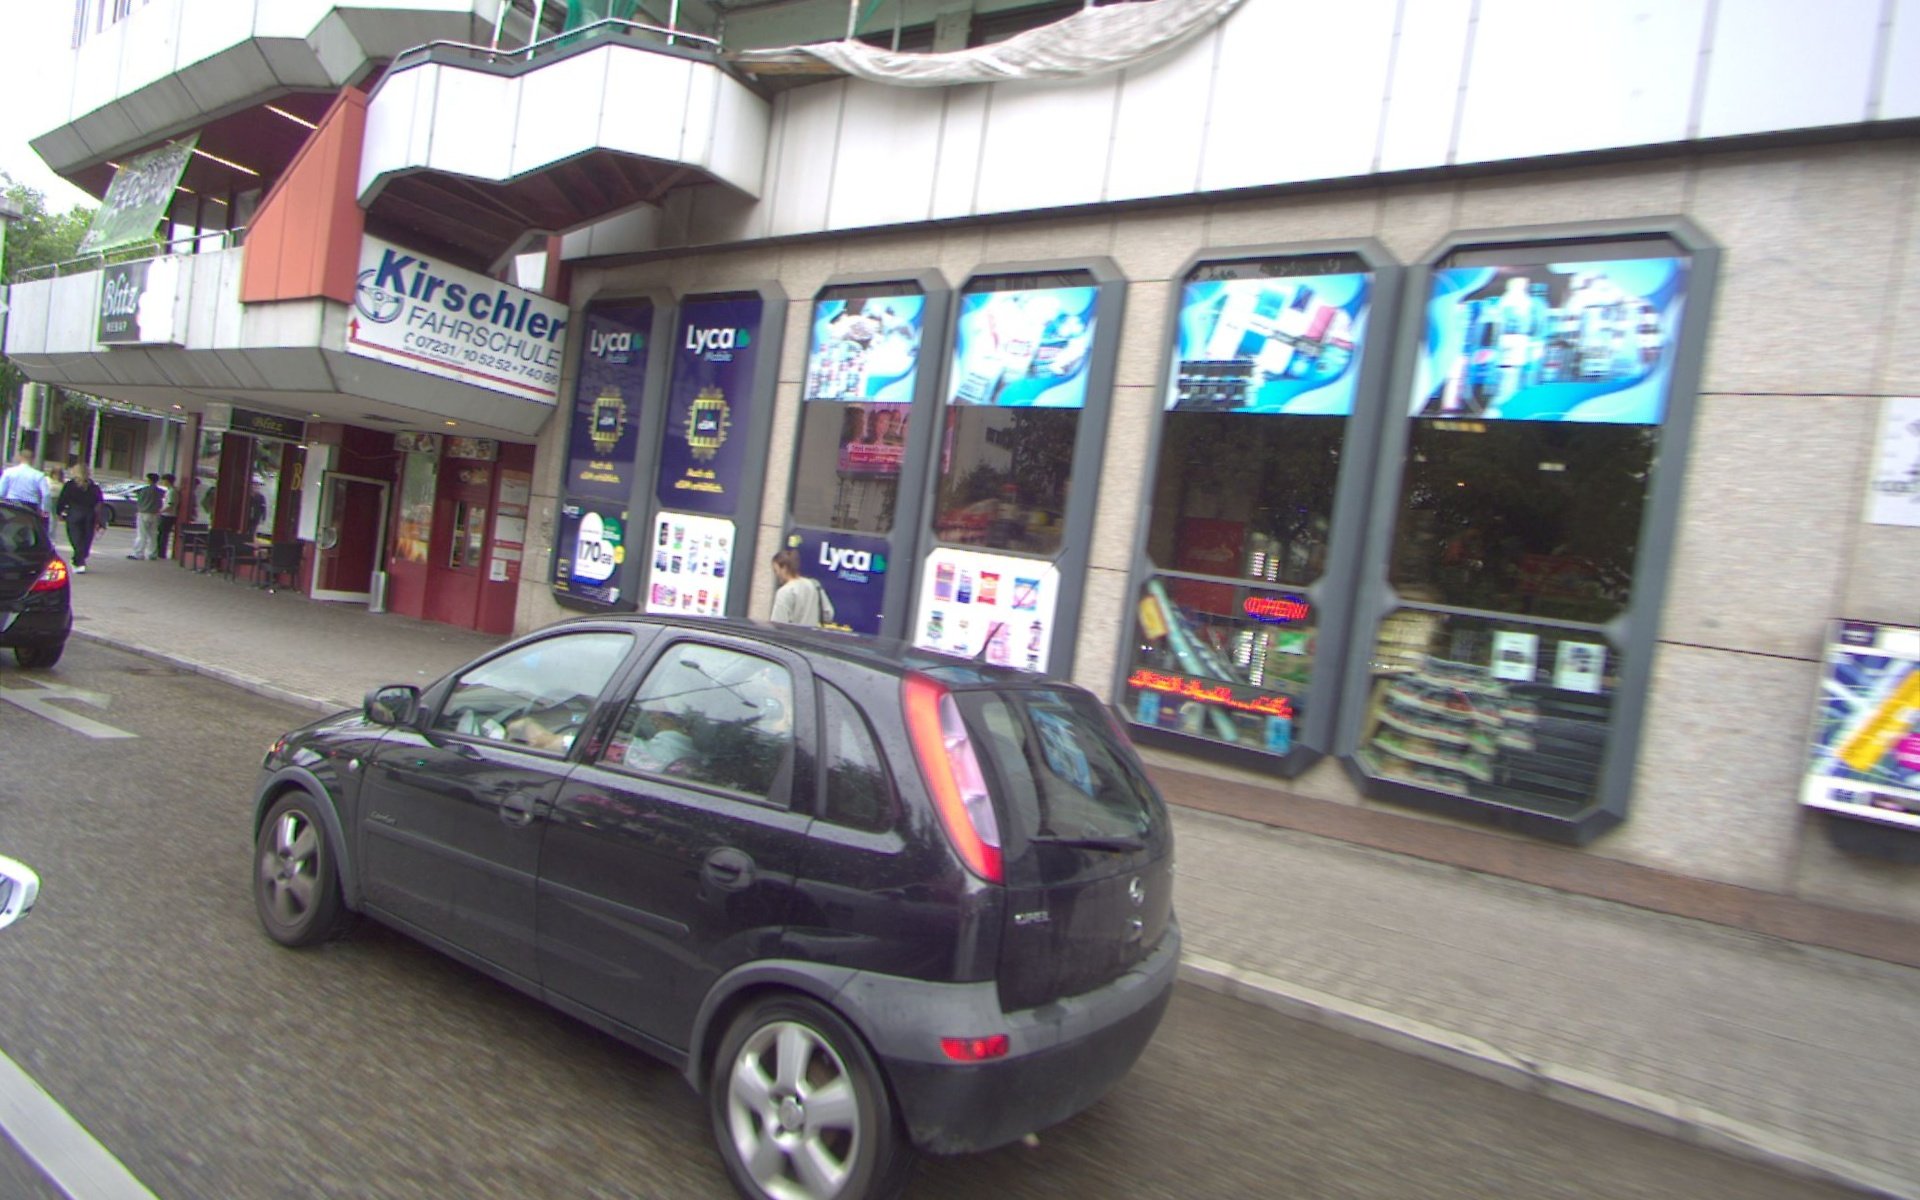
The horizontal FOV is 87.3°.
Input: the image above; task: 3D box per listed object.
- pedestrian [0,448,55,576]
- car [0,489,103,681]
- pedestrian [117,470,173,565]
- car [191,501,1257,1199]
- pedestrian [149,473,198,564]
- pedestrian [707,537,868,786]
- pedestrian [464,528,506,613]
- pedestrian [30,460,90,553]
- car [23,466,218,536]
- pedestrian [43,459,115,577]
[{"bbox_3d":[-14.655,-1.360,15.617,0.835,1.870,0.622,6,0,36],"label":"pedestrian"},{"bbox_3d":[-9.389,-0.350,8.760,3.678,1.475,1.711,9,0,30],"label":"car"},{"bbox_3d":[-16.243,-1.640,20.054,0.484,1.785,0.596,6,0,30],"label":"pedestrian"},{"bbox_3d":[-1.001,0.638,3.679,3.566,1.459,1.594,9,1,31],"label":"car"},{"bbox_3d":[-16.156,-1.672,20.666,0.503,1.785,0.526,6,1,31],"label":"pedestrian"},{"bbox_3d":[-1.366,0.436,7.982,0.792,1.805,0.894,7,6,33],"label":"pedestrian"},{"bbox_3d":[-8.807,-0.543,18.663,0.500,1.506,0.458,5,2,-9],"label":"pedestrian"},{"bbox_3d":[-18.224,-1.890,20.357,0.955,1.729,0.588,9,4,32],"label":"pedestrian"},{"bbox_3d":[-25.750,-3.008,31.077,1.754,1.438,4.273,9,1,17],"label":"car"},{"bbox_3d":[-14.173,-1.317,16.184,0.667,1.795,0.622,7,1,36],"label":"pedestrian"}]
